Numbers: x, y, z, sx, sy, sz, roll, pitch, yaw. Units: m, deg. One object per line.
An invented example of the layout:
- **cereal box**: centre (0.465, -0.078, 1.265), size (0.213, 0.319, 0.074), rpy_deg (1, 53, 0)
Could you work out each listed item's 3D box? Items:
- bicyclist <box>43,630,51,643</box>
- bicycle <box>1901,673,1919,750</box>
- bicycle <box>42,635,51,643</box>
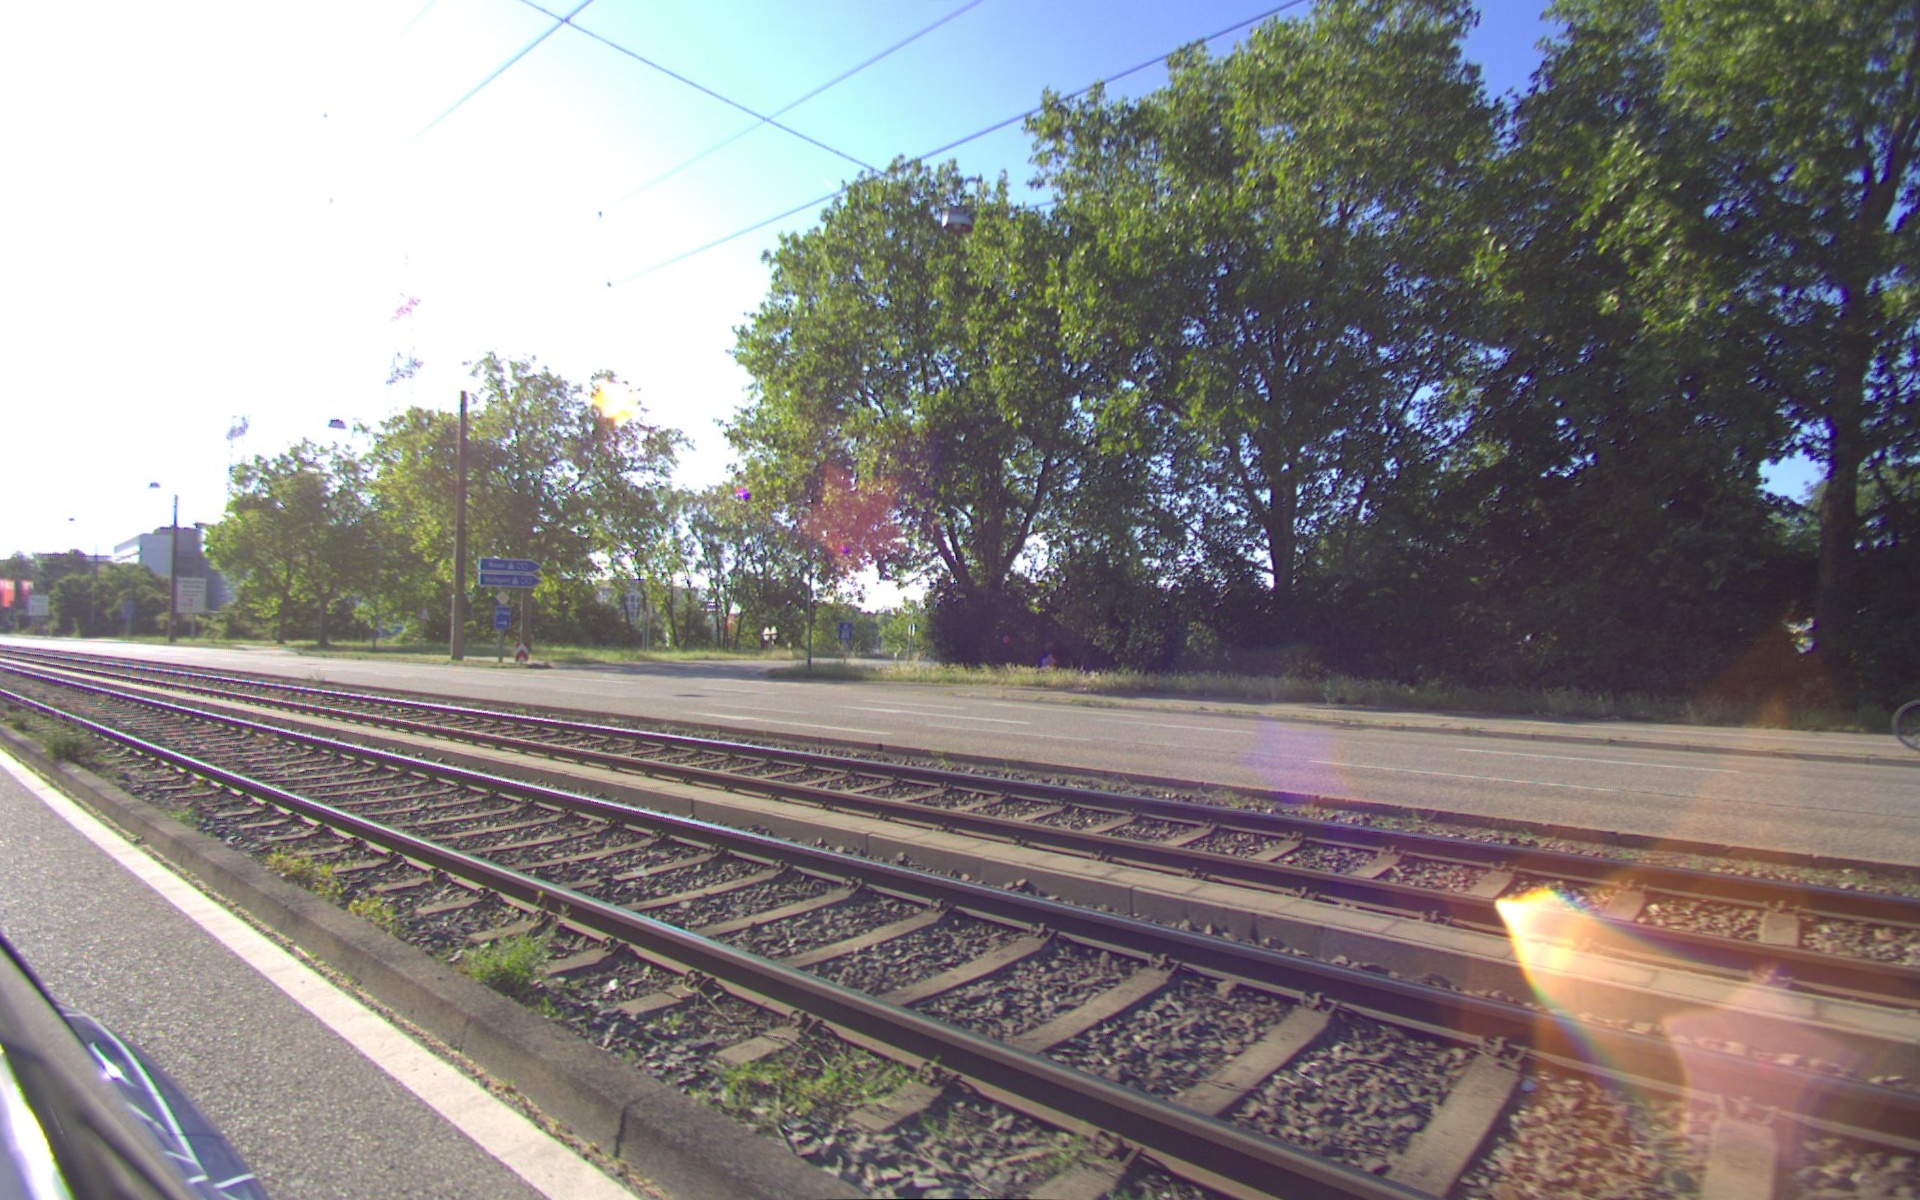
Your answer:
- **bicyclist**: centre (-113.938, 4.527, 126.290), size (0.966, 1.623, 0.584), rpy_deg (-1, -2, 41)
- **bicycle**: centre (13.700, 1.495, 13.071), size (2.240, 0.993, 0.544), rpy_deg (-1, 0, 45)
- **bicycle**: centre (-114.073, 4.844, 126.411), size (2.184, 1.029, 0.584), rpy_deg (-1, -2, 41)
